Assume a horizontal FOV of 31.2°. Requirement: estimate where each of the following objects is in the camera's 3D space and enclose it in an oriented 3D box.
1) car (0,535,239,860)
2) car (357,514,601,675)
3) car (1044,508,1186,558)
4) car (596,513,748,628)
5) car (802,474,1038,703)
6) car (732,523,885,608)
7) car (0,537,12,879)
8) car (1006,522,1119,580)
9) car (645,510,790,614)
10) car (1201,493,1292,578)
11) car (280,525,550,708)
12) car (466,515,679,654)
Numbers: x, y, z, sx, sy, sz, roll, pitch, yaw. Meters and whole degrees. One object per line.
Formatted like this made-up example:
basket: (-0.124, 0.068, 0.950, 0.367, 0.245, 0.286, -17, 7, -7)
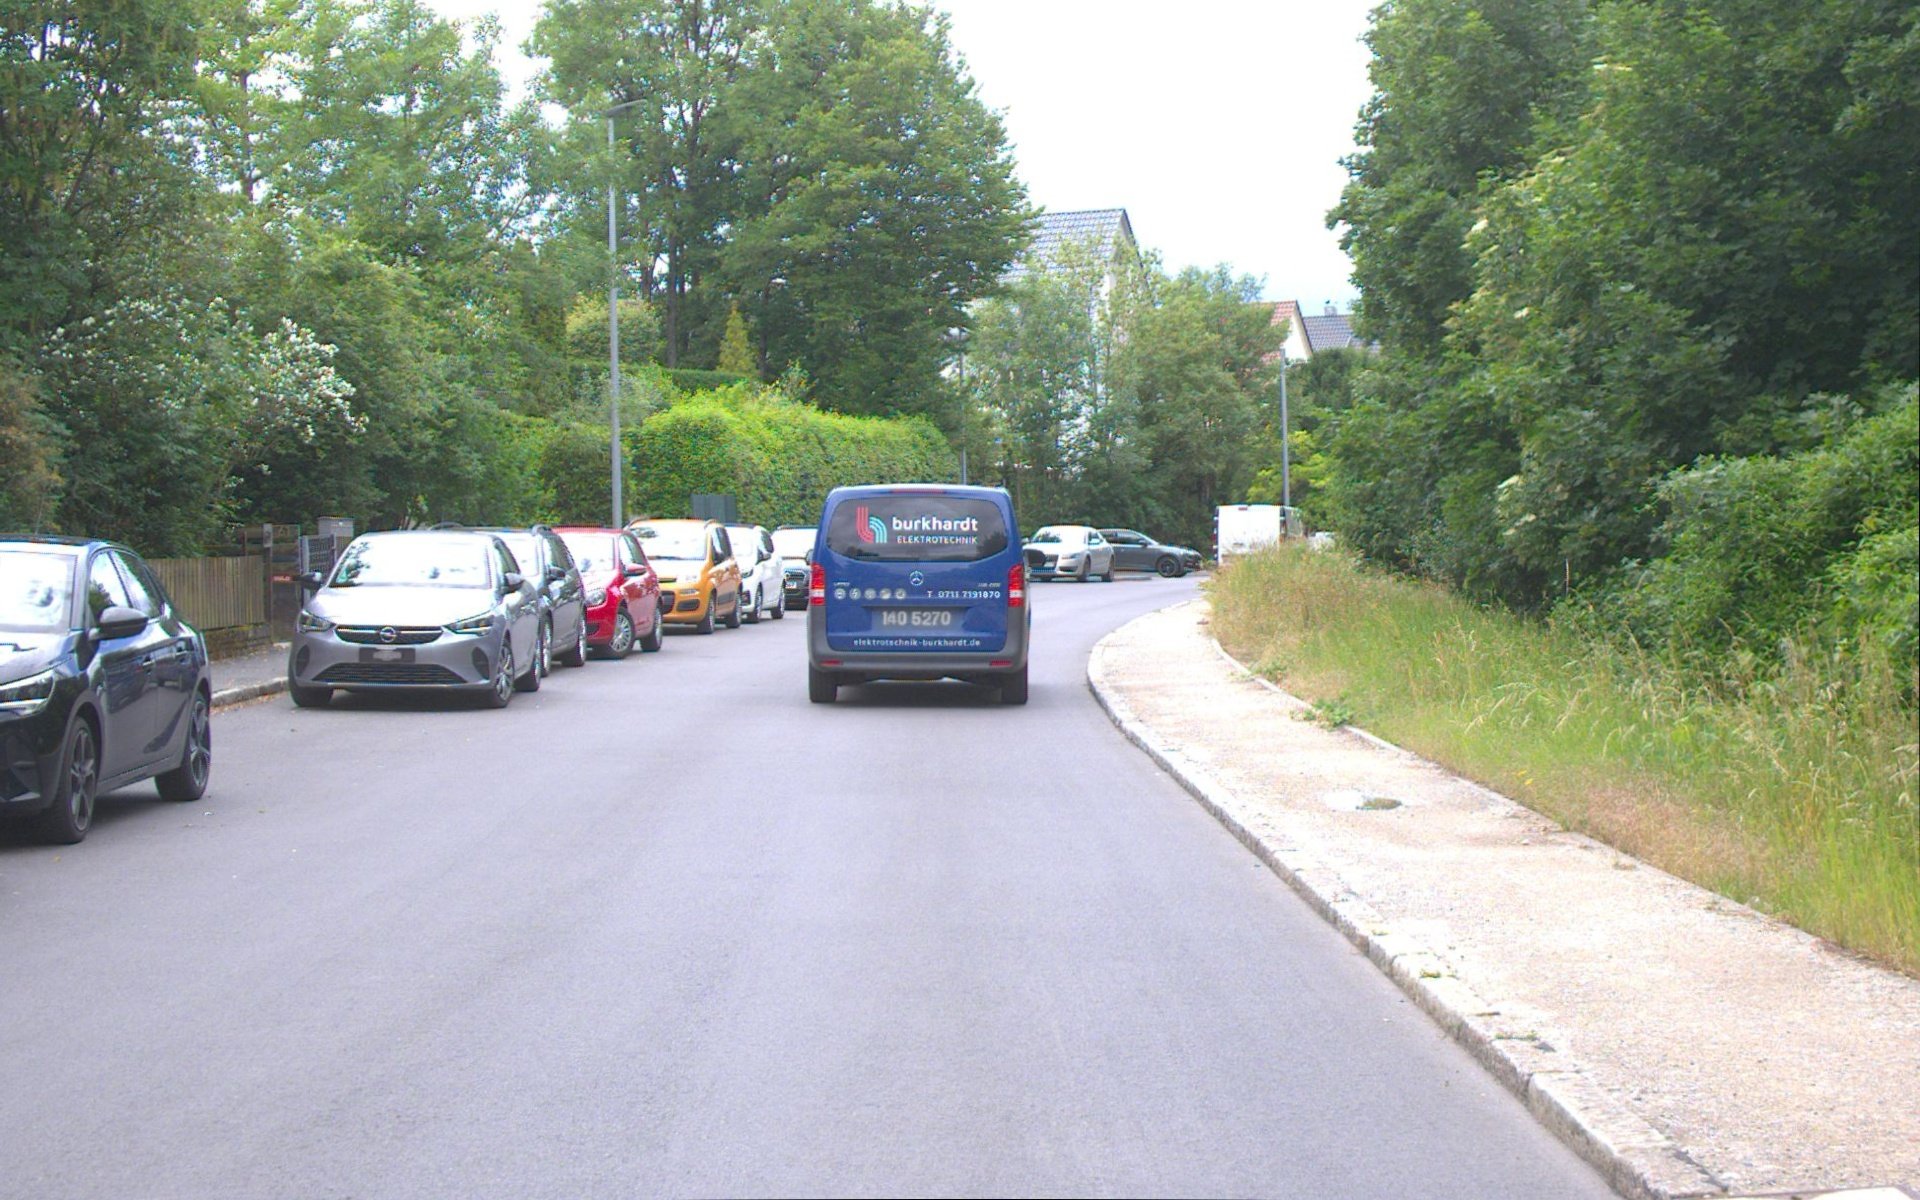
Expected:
car: (-4.884, 0.395, 17.334, 1.707, 1.411, 4.133, 0, 2, -1)
car: (-4.791, -0.104, 34.800, 1.707, 1.509, 4.495, 0, 2, 2)
car: (4.638, -2.000, 102.342, 4.167, 1.442, 1.740, 1, 1, 4)
car: (-3.912, -0.433, 47.194, 1.544, 1.509, 3.644, 0, 2, 4)
car: (-0.412, -0.156, 30.521, 1.936, 1.873, 4.531, 0, 1, -2)
car: (-2.537, -0.619, 58.615, 1.719, 1.380, 4.662, 0, 2, 9)
car: (-4.783, 0.494, 12.308, 1.707, 1.411, 4.150, 0, 2, -1)
car: (2.562, -1.233, 84.944, 1.832, 1.369, 4.442, 1, 2, 14)
car: (-3.630, -0.603, 51.984, 1.588, 1.509, 3.590, 0, 2, 6)
car: (7.251, -1.636, 87.055, 2.206, 2.056, 6.134, 0, 1, 5)
car: (-4.531, 0.086, 29.090, 1.707, 1.405, 4.161, 0, 2, -1)
car: (-4.434, -0.227, 39.890, 1.707, 1.509, 4.363, 0, 2, 4)
